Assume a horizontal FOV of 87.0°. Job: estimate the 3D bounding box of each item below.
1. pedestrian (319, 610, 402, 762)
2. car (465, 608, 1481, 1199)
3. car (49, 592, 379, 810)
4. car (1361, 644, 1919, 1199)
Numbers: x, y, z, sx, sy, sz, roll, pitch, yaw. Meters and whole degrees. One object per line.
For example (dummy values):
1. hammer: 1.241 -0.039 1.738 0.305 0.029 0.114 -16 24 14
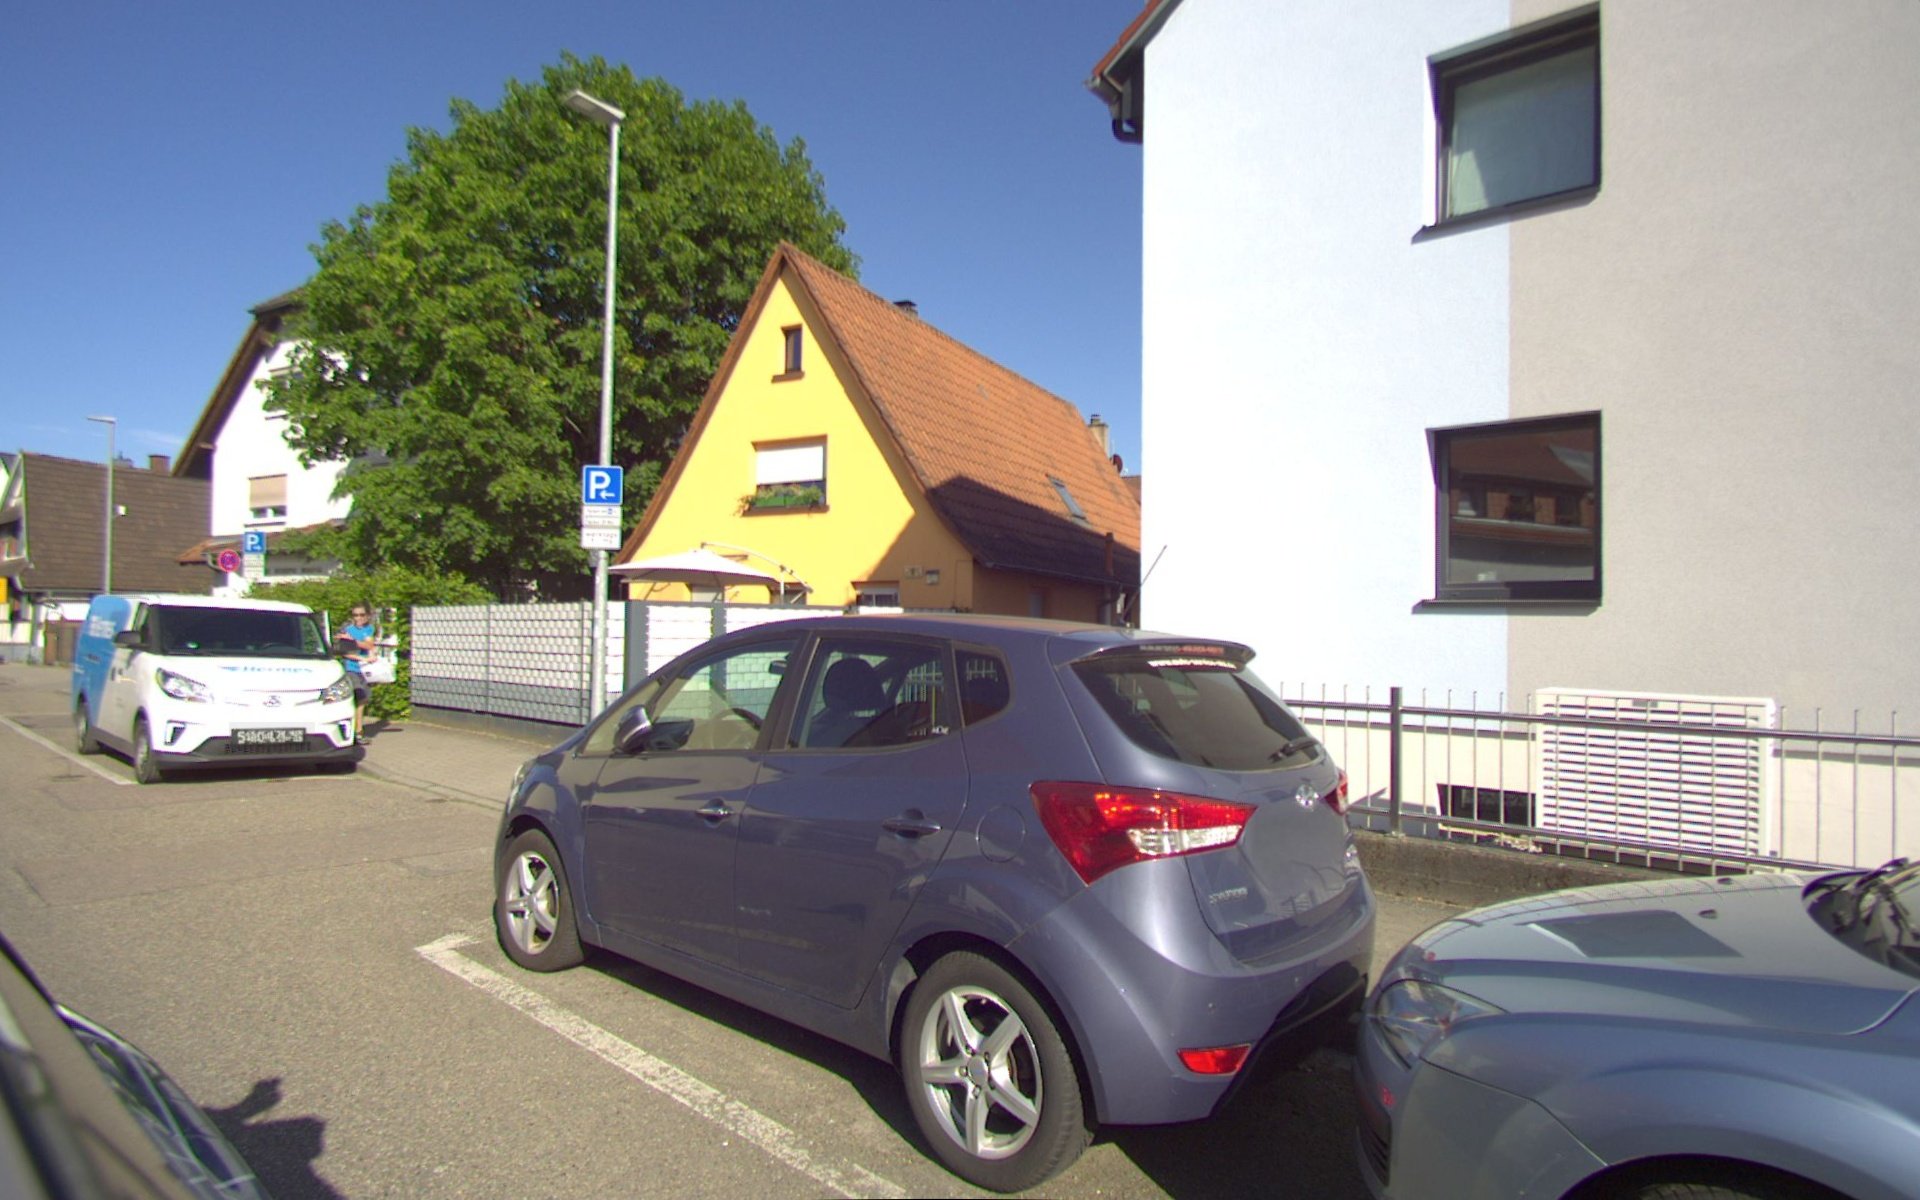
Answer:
1. pedestrian: -7.302 1.017 12.327 0.883 1.762 0.610 -2 -2 41
2. car: -0.265 0.897 4.086 3.923 1.611 1.697 -2 -3 41
3. car: -8.519 0.982 11.353 5.067 1.932 1.882 -2 -3 41
4. car: 2.900 0.829 1.154 4.232 1.516 1.694 -2 -4 41
